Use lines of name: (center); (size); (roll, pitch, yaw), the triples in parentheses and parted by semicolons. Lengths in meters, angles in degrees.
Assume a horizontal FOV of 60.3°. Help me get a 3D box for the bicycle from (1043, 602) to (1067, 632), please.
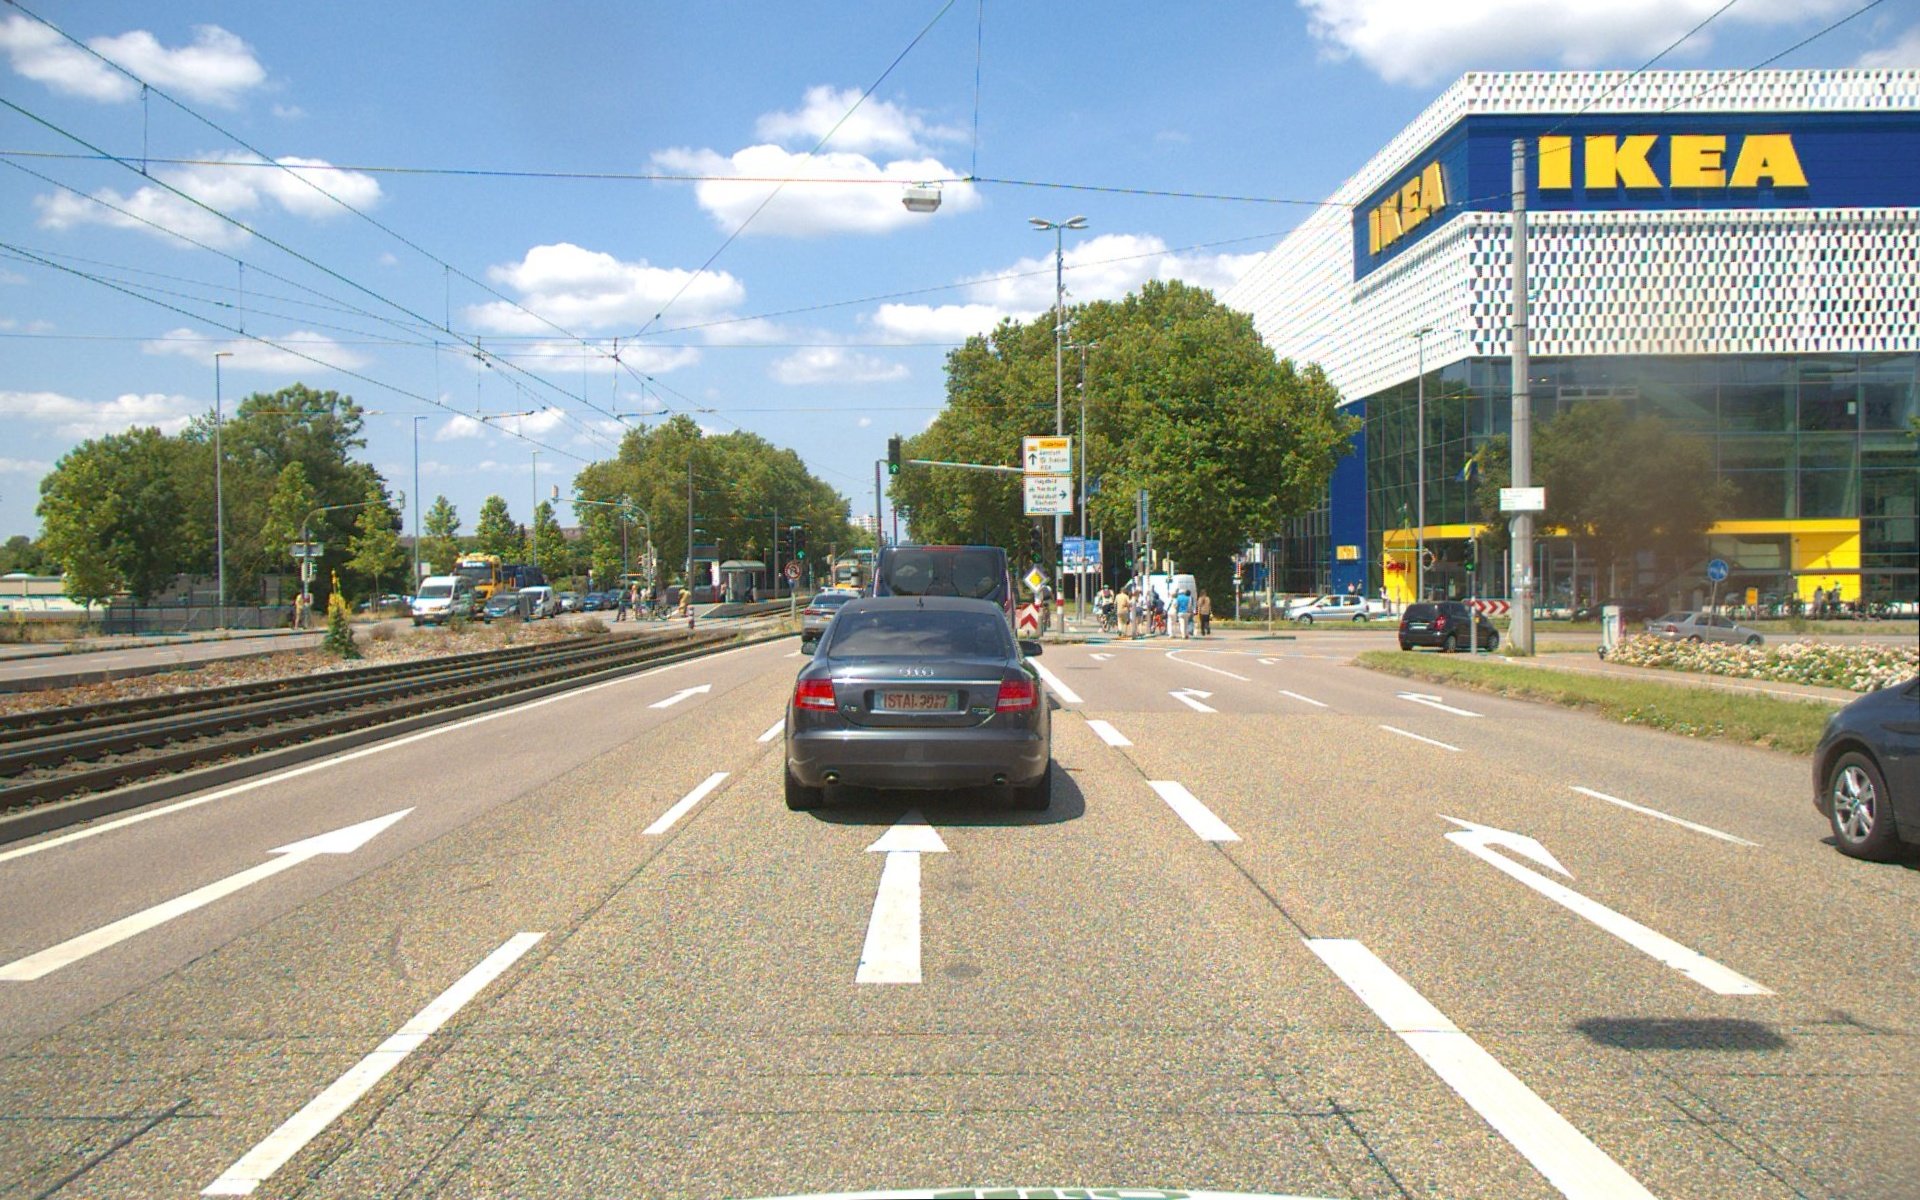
bicycle: (3.437, 0.603, 59.898); (0.673, 1.011, 2.751); (1, 0, 0)

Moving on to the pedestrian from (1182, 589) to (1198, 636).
pedestrian: (8.372, 0.452, 60.194); (0.493, 1.663, 0.449); (1, 0, 2)

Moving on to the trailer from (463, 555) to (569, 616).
trailer: (-28.075, -0.878, 105.472); (2.711, 3.580, 15.875); (0, 0, -1)

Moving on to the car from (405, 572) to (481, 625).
car: (-27.651, -0.143, 88.771); (2.198, 2.634, 6.233); (-2, 1, -2)

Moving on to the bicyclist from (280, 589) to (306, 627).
bicyclist: (-32.422, 0.397, 80.409); (1.097, 1.805, 0.340); (1, 0, -6)

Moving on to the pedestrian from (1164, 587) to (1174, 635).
pedestrian: (7.279, 0.373, 57.584); (0.314, 1.663, 0.377); (1, 0, 2)

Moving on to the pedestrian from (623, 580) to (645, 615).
pedestrian: (-16.554, -0.132, 84.047); (0.806, 1.750, 0.775); (1, 0, 21)

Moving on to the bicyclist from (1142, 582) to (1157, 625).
bicyclist: (7.992, 0.142, 69.731); (0.517, 1.795, 0.828); (0, 0, 13)

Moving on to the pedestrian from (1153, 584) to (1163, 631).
pedestrian: (7.163, 0.267, 59.772); (0.332, 1.663, 0.377); (1, 0, 2)

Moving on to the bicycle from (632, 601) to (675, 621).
bicycle: (-14.847, 0.524, 80.204); (2.019, 0.941, 0.751); (0, 0, -11)

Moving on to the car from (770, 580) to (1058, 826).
car: (-0.301, 0.614, 12.242); (1.756, 1.480, 4.000); (-1, 1, -1)

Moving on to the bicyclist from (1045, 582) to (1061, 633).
bicyclist: (3.368, 0.268, 59.776); (0.518, 1.820, 1.088); (0, 0, 0)

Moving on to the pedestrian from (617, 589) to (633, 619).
pedestrian: (-16.458, 0.210, 81.200); (0.671, 1.468, 0.572); (0, 0, -4)

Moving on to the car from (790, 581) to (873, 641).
car: (-3.447, 0.271, 45.158); (1.953, 1.512, 4.000); (2, 1, -1)

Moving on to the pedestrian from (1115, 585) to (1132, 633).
pedestrian: (5.697, 0.308, 57.732); (0.542, 1.663, 0.433); (1, 0, 2)

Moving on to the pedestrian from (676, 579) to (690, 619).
pedestrian: (-14.310, -0.049, 85.375); (0.672, 2.049, 0.572); (0, 0, -5)

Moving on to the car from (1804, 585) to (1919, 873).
car: (6.044, 0.705, 8.116); (1.725, 1.553, 4.099); (0, 1, 0)

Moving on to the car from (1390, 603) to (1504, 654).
car: (15.580, 0.892, 52.850); (1.965, 1.512, 3.975); (2, 1, 42)

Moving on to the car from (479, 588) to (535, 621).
car: (-24.221, 0.213, 88.493); (1.785, 1.699, 4.461); (1, 1, -1)

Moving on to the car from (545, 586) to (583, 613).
car: (-27.948, -0.044, 116.913); (1.781, 1.916, 3.999); (0, 0, -1)

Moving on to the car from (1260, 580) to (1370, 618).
car: (15.541, -0.049, 72.543); (4.403, 1.512, 2.001); (2, 1, 3)

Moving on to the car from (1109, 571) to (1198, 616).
car: (10.412, -0.373, 89.194); (1.982, 2.349, 4.705); (0, 0, -40)

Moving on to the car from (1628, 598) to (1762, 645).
car: (26.000, 0.765, 58.566); (4.090, 1.512, 1.989); (1, 1, -19)

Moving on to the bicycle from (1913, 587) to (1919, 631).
bicycle: (34.145, 0.315, 56.669); (2.372, 1.507, 0.989); (1, 0, 4)

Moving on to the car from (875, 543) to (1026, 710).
car: (-0.144, 0.317, 21.703); (1.799, 1.984, 3.999); (0, 0, -1)

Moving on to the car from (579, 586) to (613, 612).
car: (-27.853, -0.072, 126.562); (1.781, 1.916, 3.999); (0, 0, -1)

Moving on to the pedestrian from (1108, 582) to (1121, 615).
pedestrian: (7.399, -0.076, 79.190); (0.483, 1.546, 0.707); (1, 0, 17)

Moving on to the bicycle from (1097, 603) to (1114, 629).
bicycle: (5.314, 0.585, 60.376); (0.538, 0.892, 1.698); (1, 0, 2)

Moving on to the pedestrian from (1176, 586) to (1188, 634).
pedestrian: (7.722, 0.360, 57.538); (0.389, 1.663, 0.371); (1, 0, 2)

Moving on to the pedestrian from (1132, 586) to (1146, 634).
pedestrian: (6.240, 0.360, 57.670); (0.435, 1.663, 0.430); (1, 0, 2)

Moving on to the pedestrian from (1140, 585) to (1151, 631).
pedestrian: (6.707, 0.282, 59.754); (0.373, 1.663, 0.377); (1, 0, 2)

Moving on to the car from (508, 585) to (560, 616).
car: (-24.722, 0.029, 96.034); (1.785, 1.699, 4.462); (1, 1, 1)

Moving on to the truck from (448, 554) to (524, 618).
truck: (-27.950, -0.830, 97.743); (2.711, 3.631, 6.438); (0, 0, -1)

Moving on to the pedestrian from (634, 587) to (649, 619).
pedestrian: (-15.835, 0.158, 82.321); (0.671, 1.592, 0.572); (0, 0, -4)

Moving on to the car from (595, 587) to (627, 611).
car: (-27.849, -0.083, 132.049); (1.781, 1.916, 3.999); (0, 0, -1)

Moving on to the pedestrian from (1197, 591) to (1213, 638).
pedestrian: (8.918, 0.514, 60.172); (0.510, 1.699, 0.494); (1, 0, 2)

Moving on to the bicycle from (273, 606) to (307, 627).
bicycle: (-32.535, 0.797, 80.345); (1.461, 1.004, 0.485); (1, 0, -5)

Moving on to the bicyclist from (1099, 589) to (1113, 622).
bicyclist: (5.312, 0.197, 60.257); (0.461, 1.214, 0.791); (0, 0, 2)
